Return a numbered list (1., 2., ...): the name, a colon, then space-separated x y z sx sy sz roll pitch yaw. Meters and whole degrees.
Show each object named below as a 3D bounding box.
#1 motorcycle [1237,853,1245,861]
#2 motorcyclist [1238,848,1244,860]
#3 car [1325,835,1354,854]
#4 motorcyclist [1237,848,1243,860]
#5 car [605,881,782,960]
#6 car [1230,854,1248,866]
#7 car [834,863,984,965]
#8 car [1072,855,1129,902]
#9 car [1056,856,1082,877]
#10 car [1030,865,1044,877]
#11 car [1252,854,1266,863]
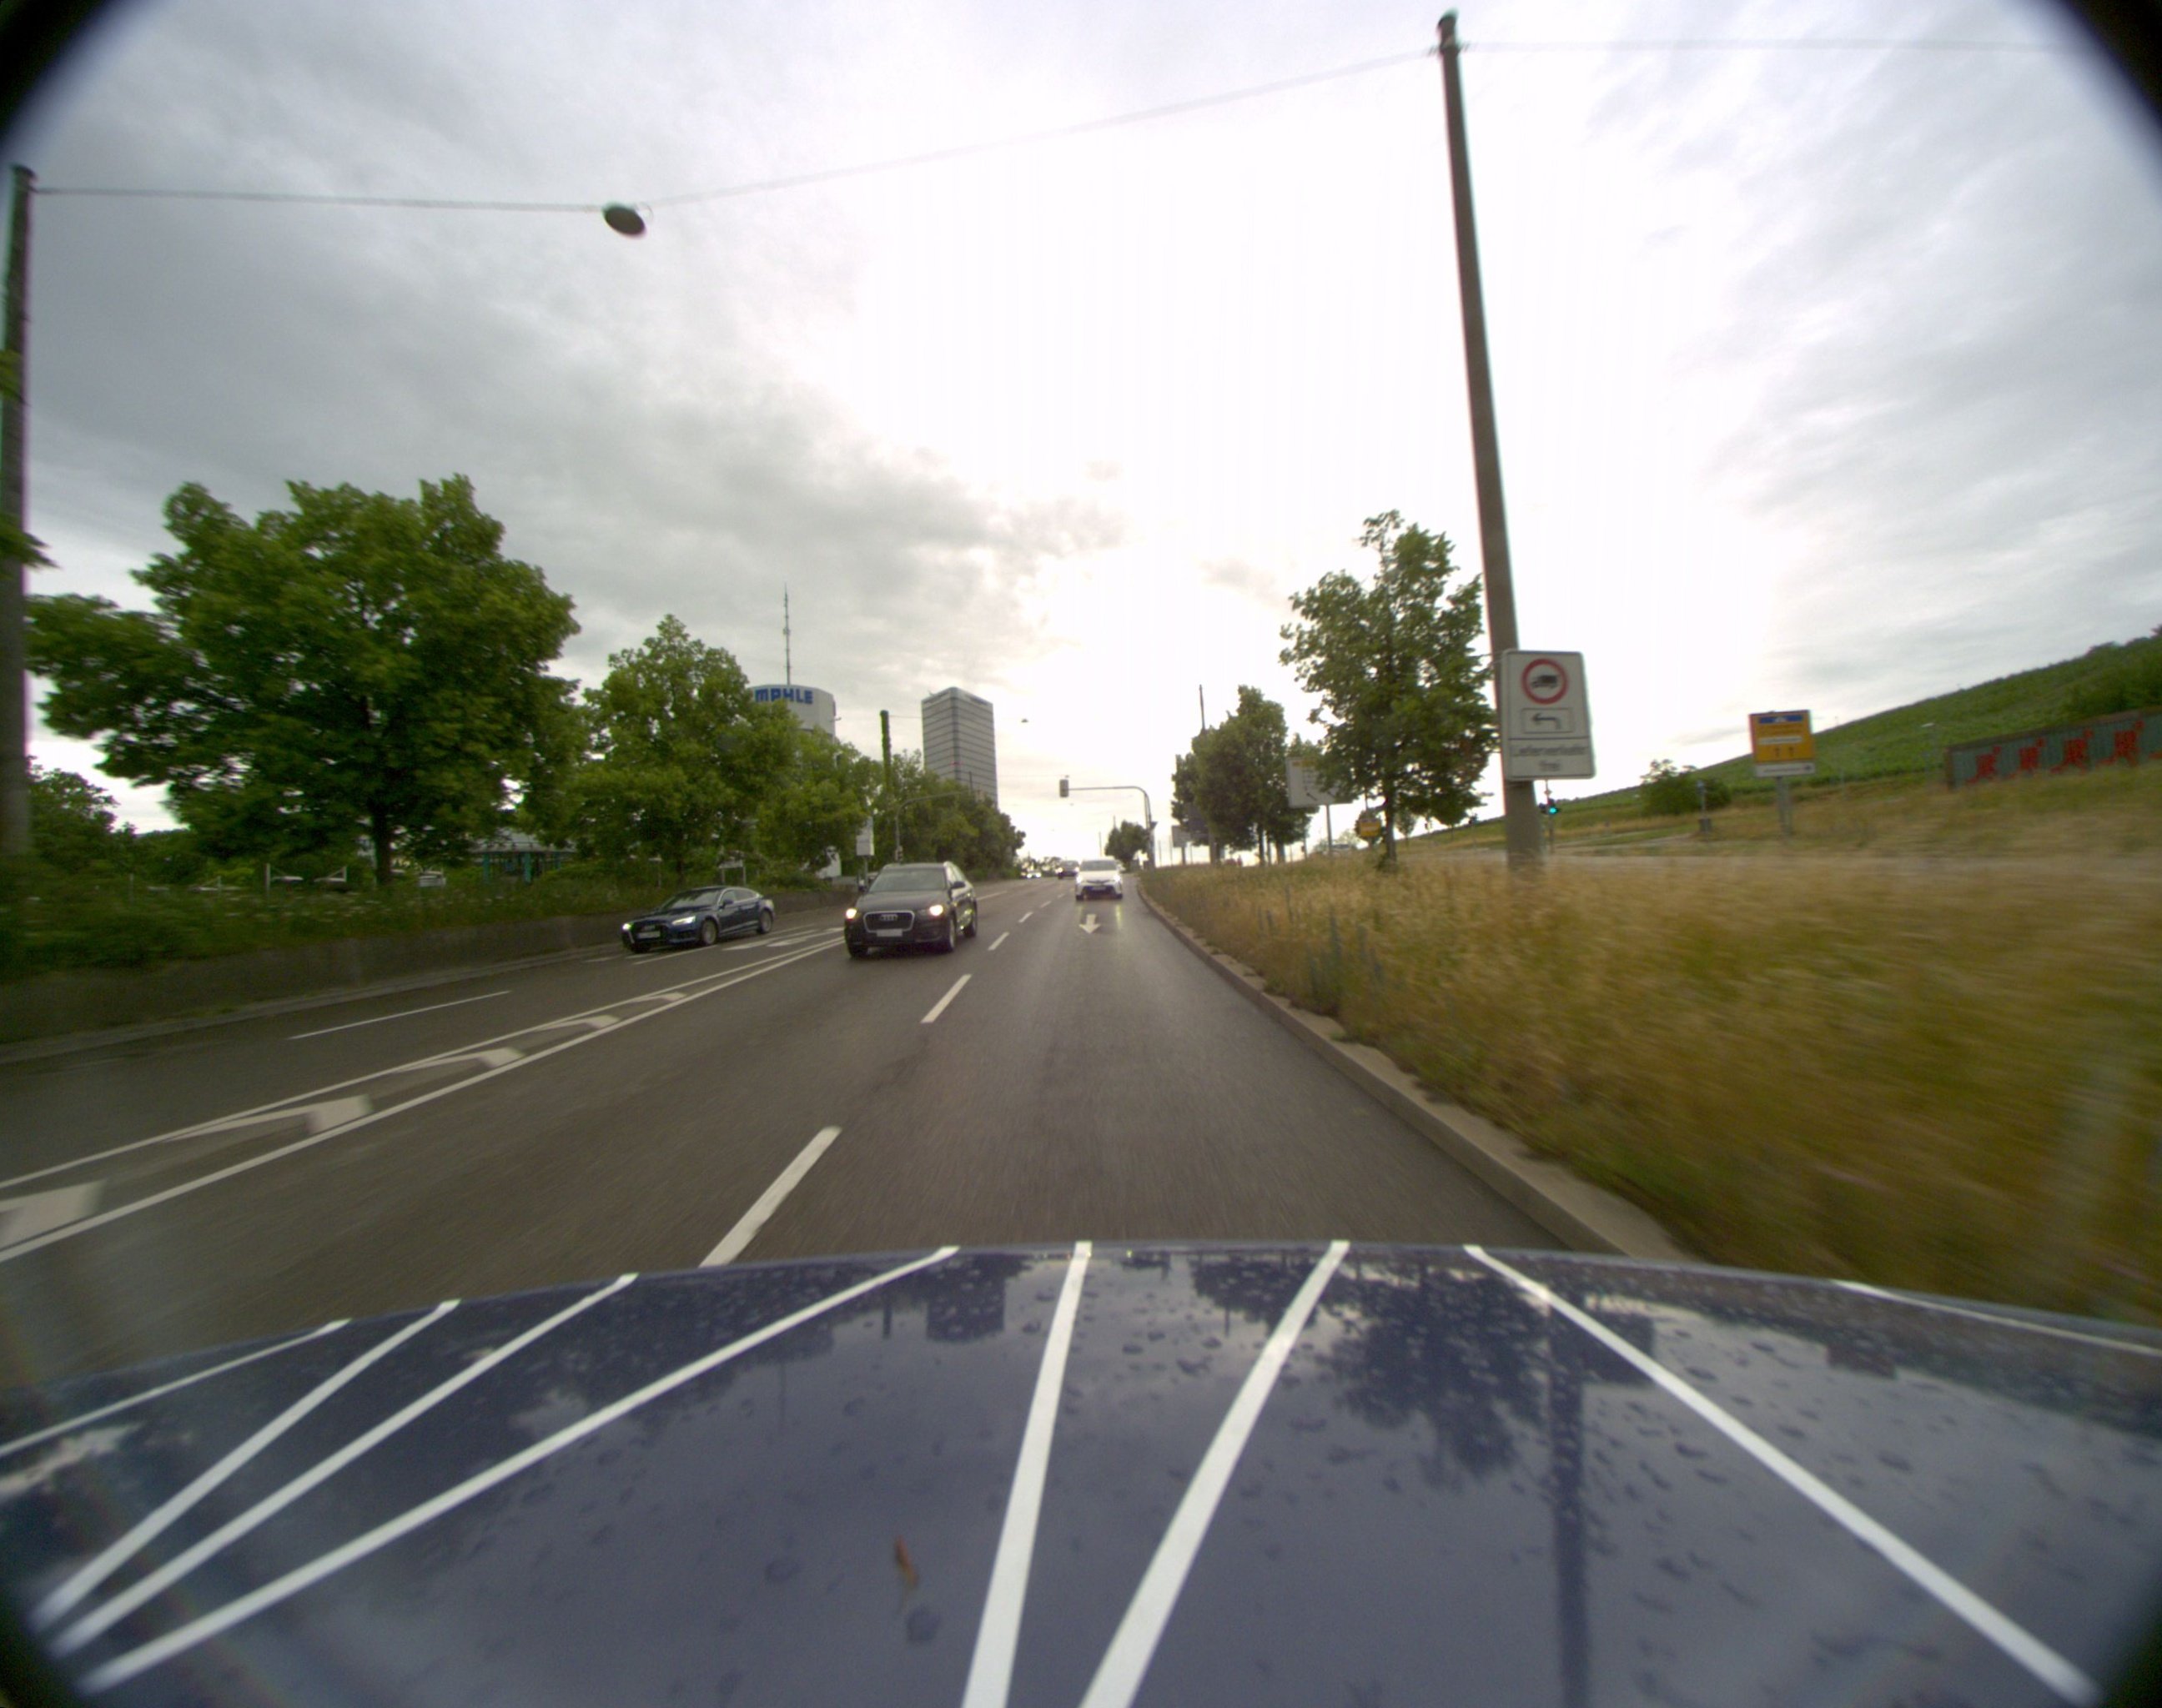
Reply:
1. motorcycle: 21.175 0.387 100.812 0.618 1.043 2.503 -3 -1 3
2. motorcyclist: 21.131 0.051 100.452 0.613 1.572 0.582 -3 -1 3
3. car: 20.942 -0.774 61.706 1.541 1.381 3.930 -3 0 9
4. motorcyclist: 21.175 0.047 101.257 0.583 1.586 0.643 -3 -1 3
5. car: -9.302 1.522 18.741 1.876 1.417 4.348 -3 1 3
6. car: 23.165 0.891 111.639 1.539 1.495 3.668 -3 0 28
7. car: -3.057 0.993 14.403 1.729 1.525 4.127 -3 0 2
8. car: 0.797 0.842 28.028 1.826 1.574 4.299 0 0 5
9. car: -0.915 1.002 60.193 1.729 1.463 4.265 -3 -1 2
10. car: -5.886 2.279 101.108 1.636 1.466 3.677 -3 -3 -6
11. car: 29.156 0.759 124.620 1.655 1.454 3.776 -4 -1 4
